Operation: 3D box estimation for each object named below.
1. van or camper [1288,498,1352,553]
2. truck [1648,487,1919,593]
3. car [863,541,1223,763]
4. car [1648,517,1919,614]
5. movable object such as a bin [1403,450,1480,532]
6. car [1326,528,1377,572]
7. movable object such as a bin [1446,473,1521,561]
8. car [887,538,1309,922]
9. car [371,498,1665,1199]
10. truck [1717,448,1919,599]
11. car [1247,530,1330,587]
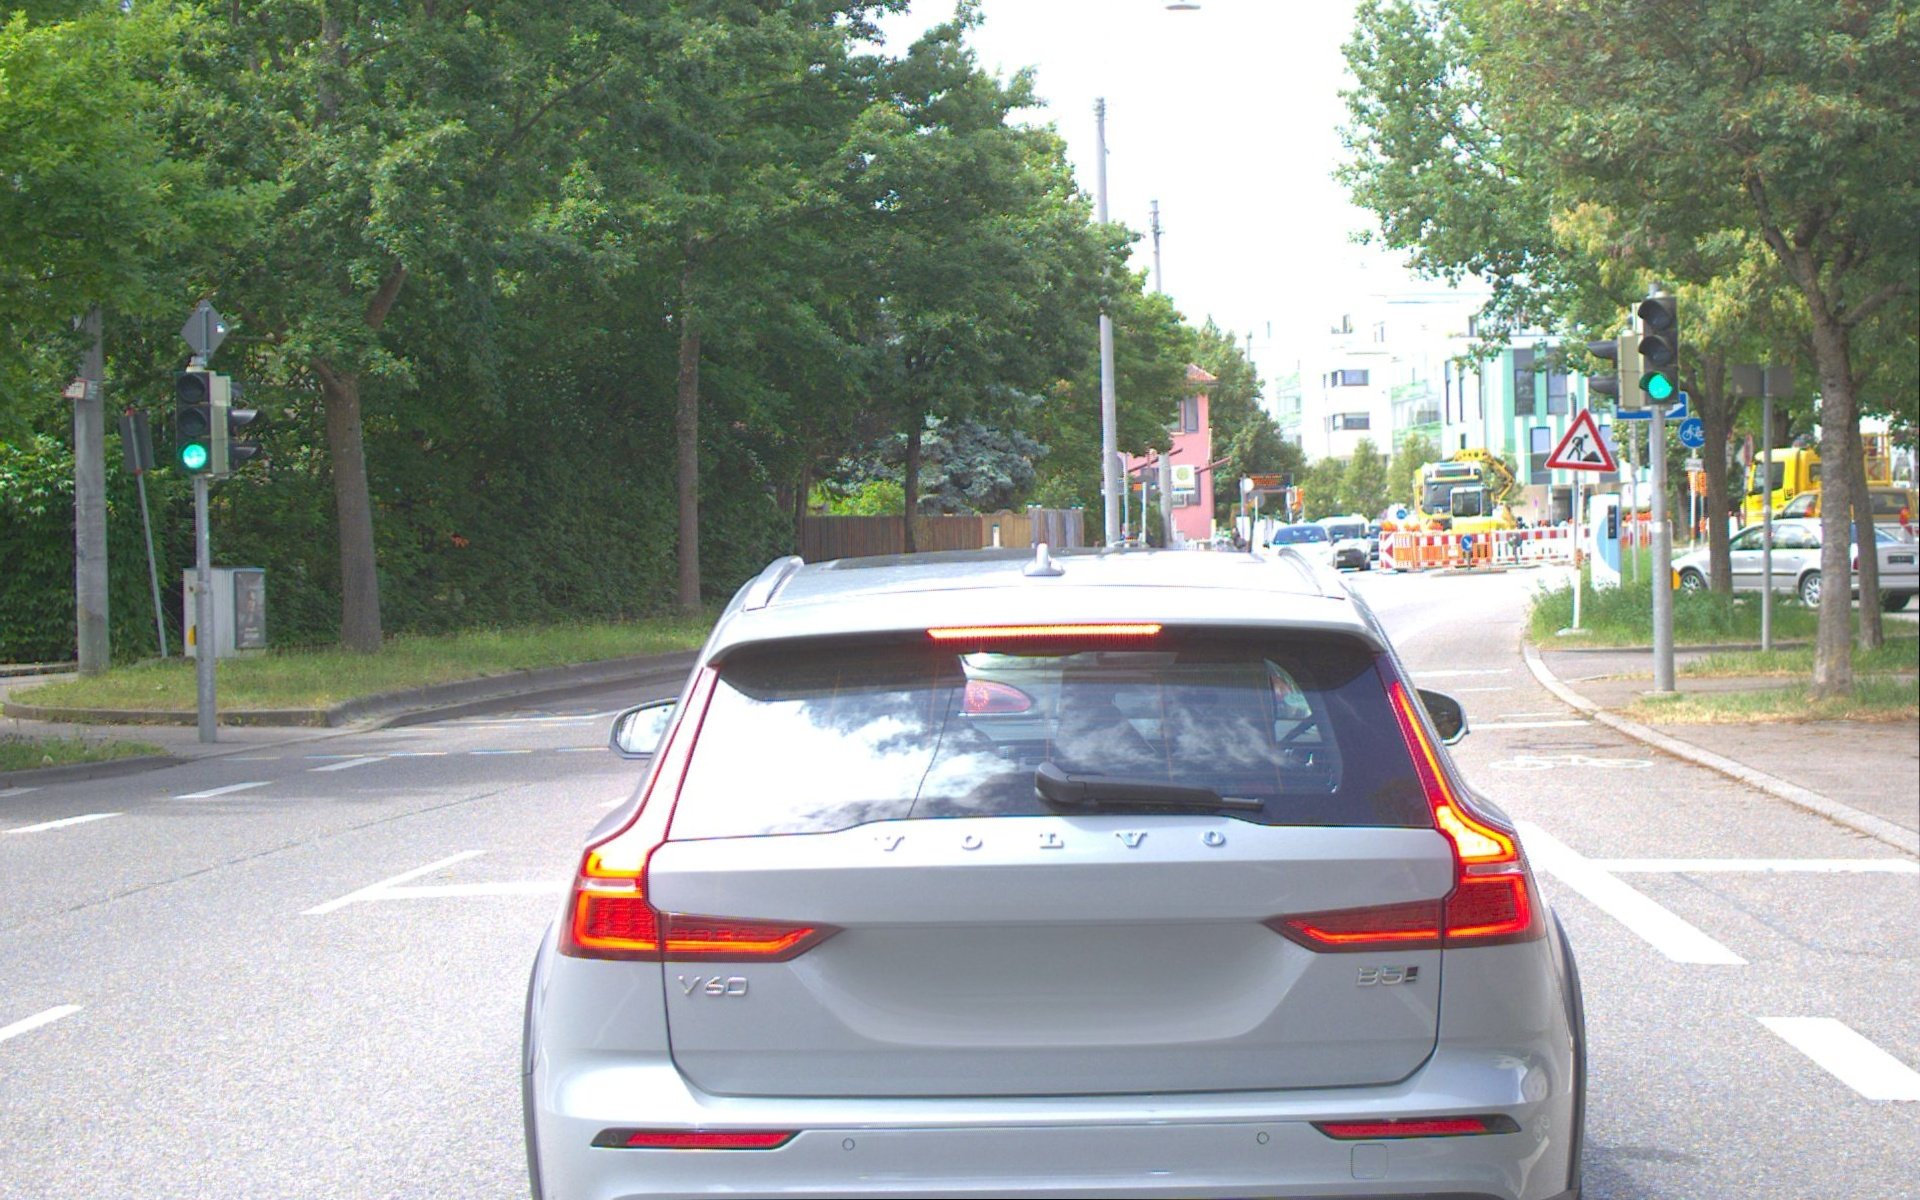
[{"bbox_3d":[12.082,-2.515,115.189,1.861,1.770,4.379,-1,1,10],"label":"van or camper"},{"bbox_3d":[16.585,-1.196,68.804,1.994,2.007,5.677,1,0,-35],"label":"truck"},{"bbox_3d":[0.724,0.353,26.040,2.103,1.505,3.998,1,0,10],"label":"car"},{"bbox_3d":[13.147,-0.571,54.187,1.762,1.447,4.689,-1,2,-32],"label":"car"},{"bbox_3d":[18.495,-4.161,132.366,2.310,2.980,6.426,-2,1,3],"label":"movable object such as a bin"},{"bbox_3d":[15.968,-2.036,140.467,1.994,1.731,3.999,1,0,6],"label":"car"},{"bbox_3d":[16.637,-2.644,109.134,2.035,2.634,5.937,-2,1,11],"label":"movable object such as a bin"},{"bbox_3d":[0.628,0.513,15.701,1.661,1.503,3.702,1,0,2],"label":"car"},{"bbox_3d":[0.171,0.590,7.177,1.928,1.535,4.000,-1,1,3],"label":"car"},{"bbox_3d":[19.032,-1.530,70.617,2.761,2.998,6.706,1,0,-34],"label":"truck"},{"bbox_3d":[8.414,-1.041,87.753,1.829,1.325,3.998,1,-1,9],"label":"car"}]
